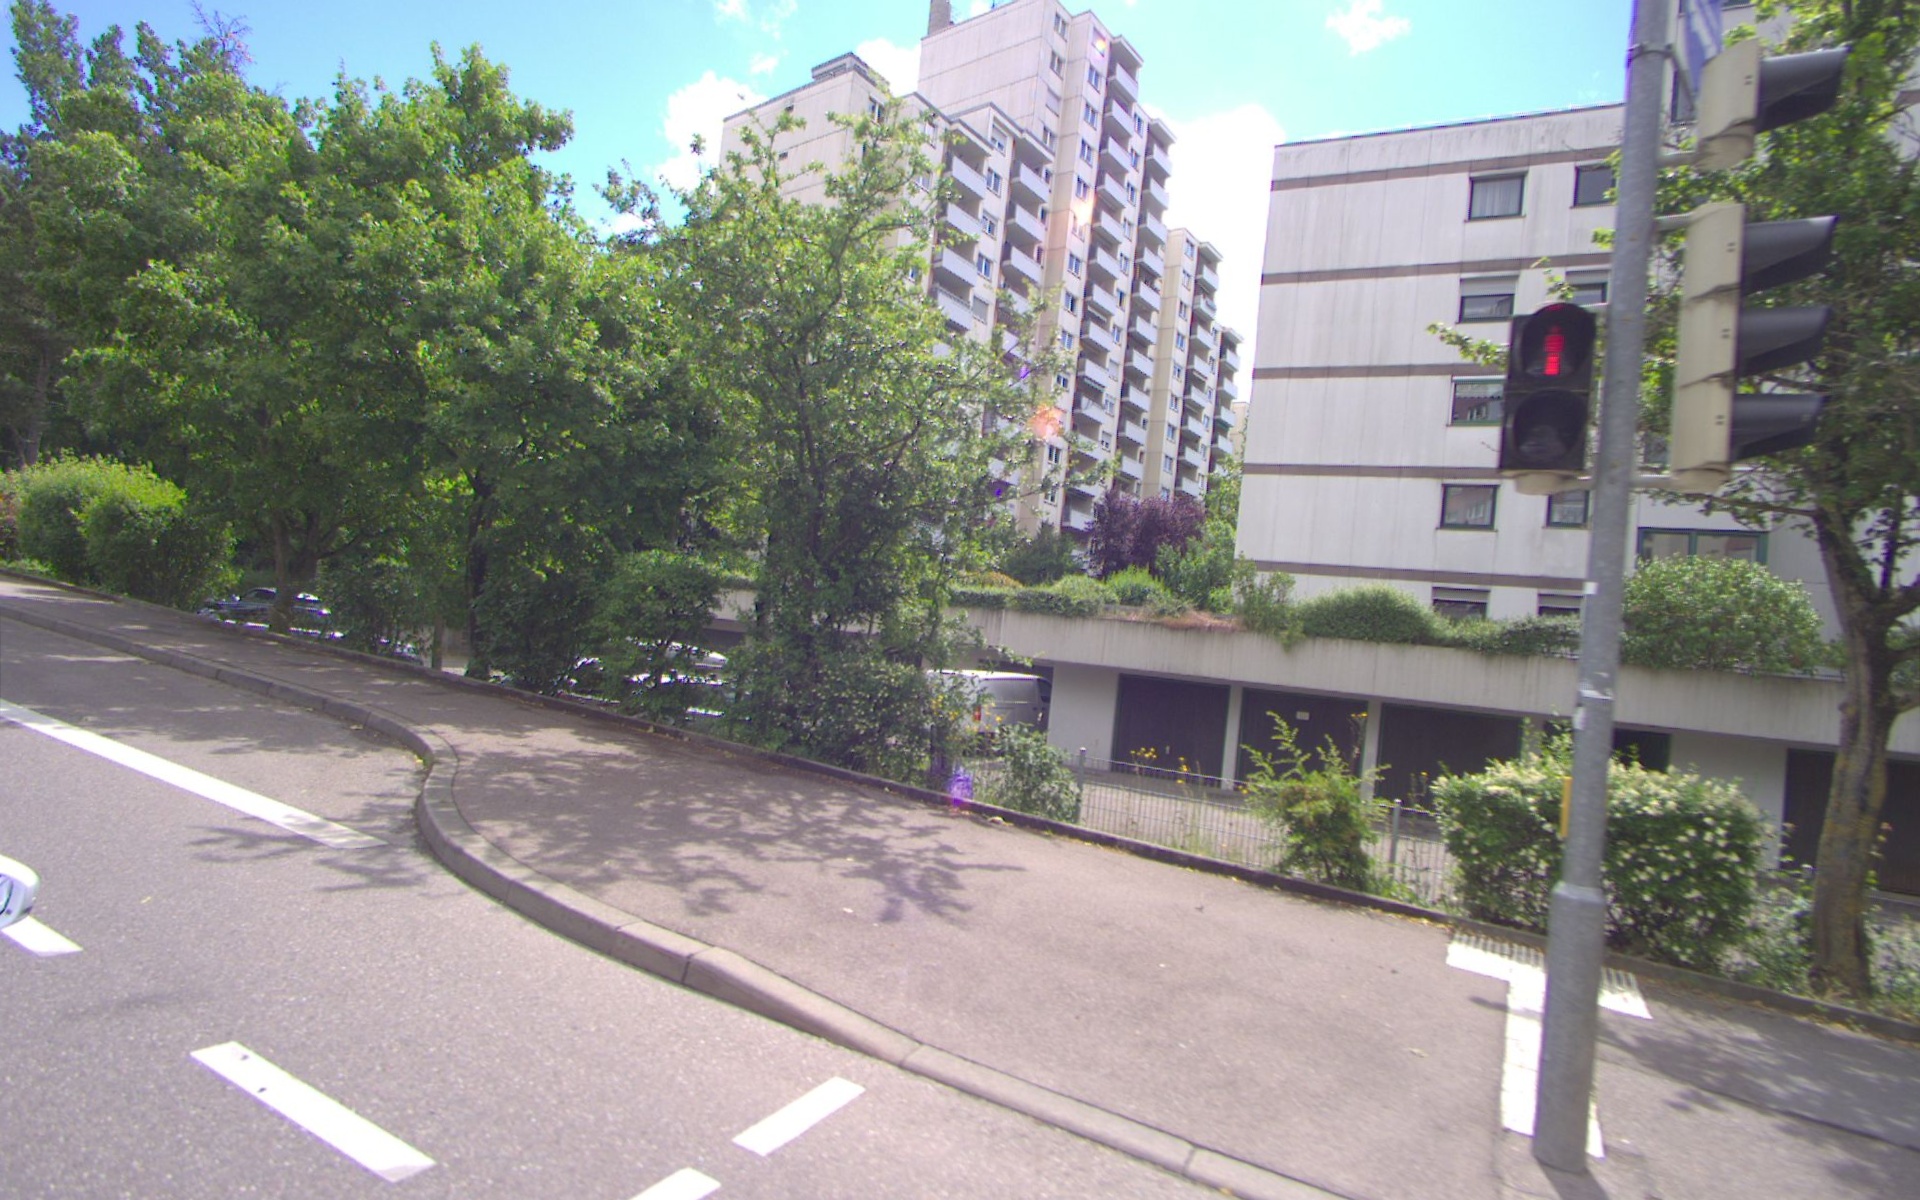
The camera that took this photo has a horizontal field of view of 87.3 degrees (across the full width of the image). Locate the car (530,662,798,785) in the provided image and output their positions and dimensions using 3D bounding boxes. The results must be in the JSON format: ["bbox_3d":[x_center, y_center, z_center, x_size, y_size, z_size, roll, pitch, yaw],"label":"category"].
[{"bbox_3d":[-4.267,1.824,15.104,1.538,1.448,3.763,5,-3,29],"label":"car"}]

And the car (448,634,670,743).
[{"bbox_3d":[-6.683,1.513,17.008,1.694,1.486,2.965,6,-3,29],"label":"car"}]

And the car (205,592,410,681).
[{"bbox_3d":[-14.053,0.834,21.824,1.546,1.507,3.264,7,-2,31],"label":"car"}]

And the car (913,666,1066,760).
[{"bbox_3d":[0.803,2.665,24.330,1.763,1.914,3.990,4,-2,33],"label":"car"}]

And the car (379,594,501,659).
[{"bbox_3d":[-18.035,0.909,34.859,3.934,1.636,1.828,7,-2,32],"label":"car"}]
